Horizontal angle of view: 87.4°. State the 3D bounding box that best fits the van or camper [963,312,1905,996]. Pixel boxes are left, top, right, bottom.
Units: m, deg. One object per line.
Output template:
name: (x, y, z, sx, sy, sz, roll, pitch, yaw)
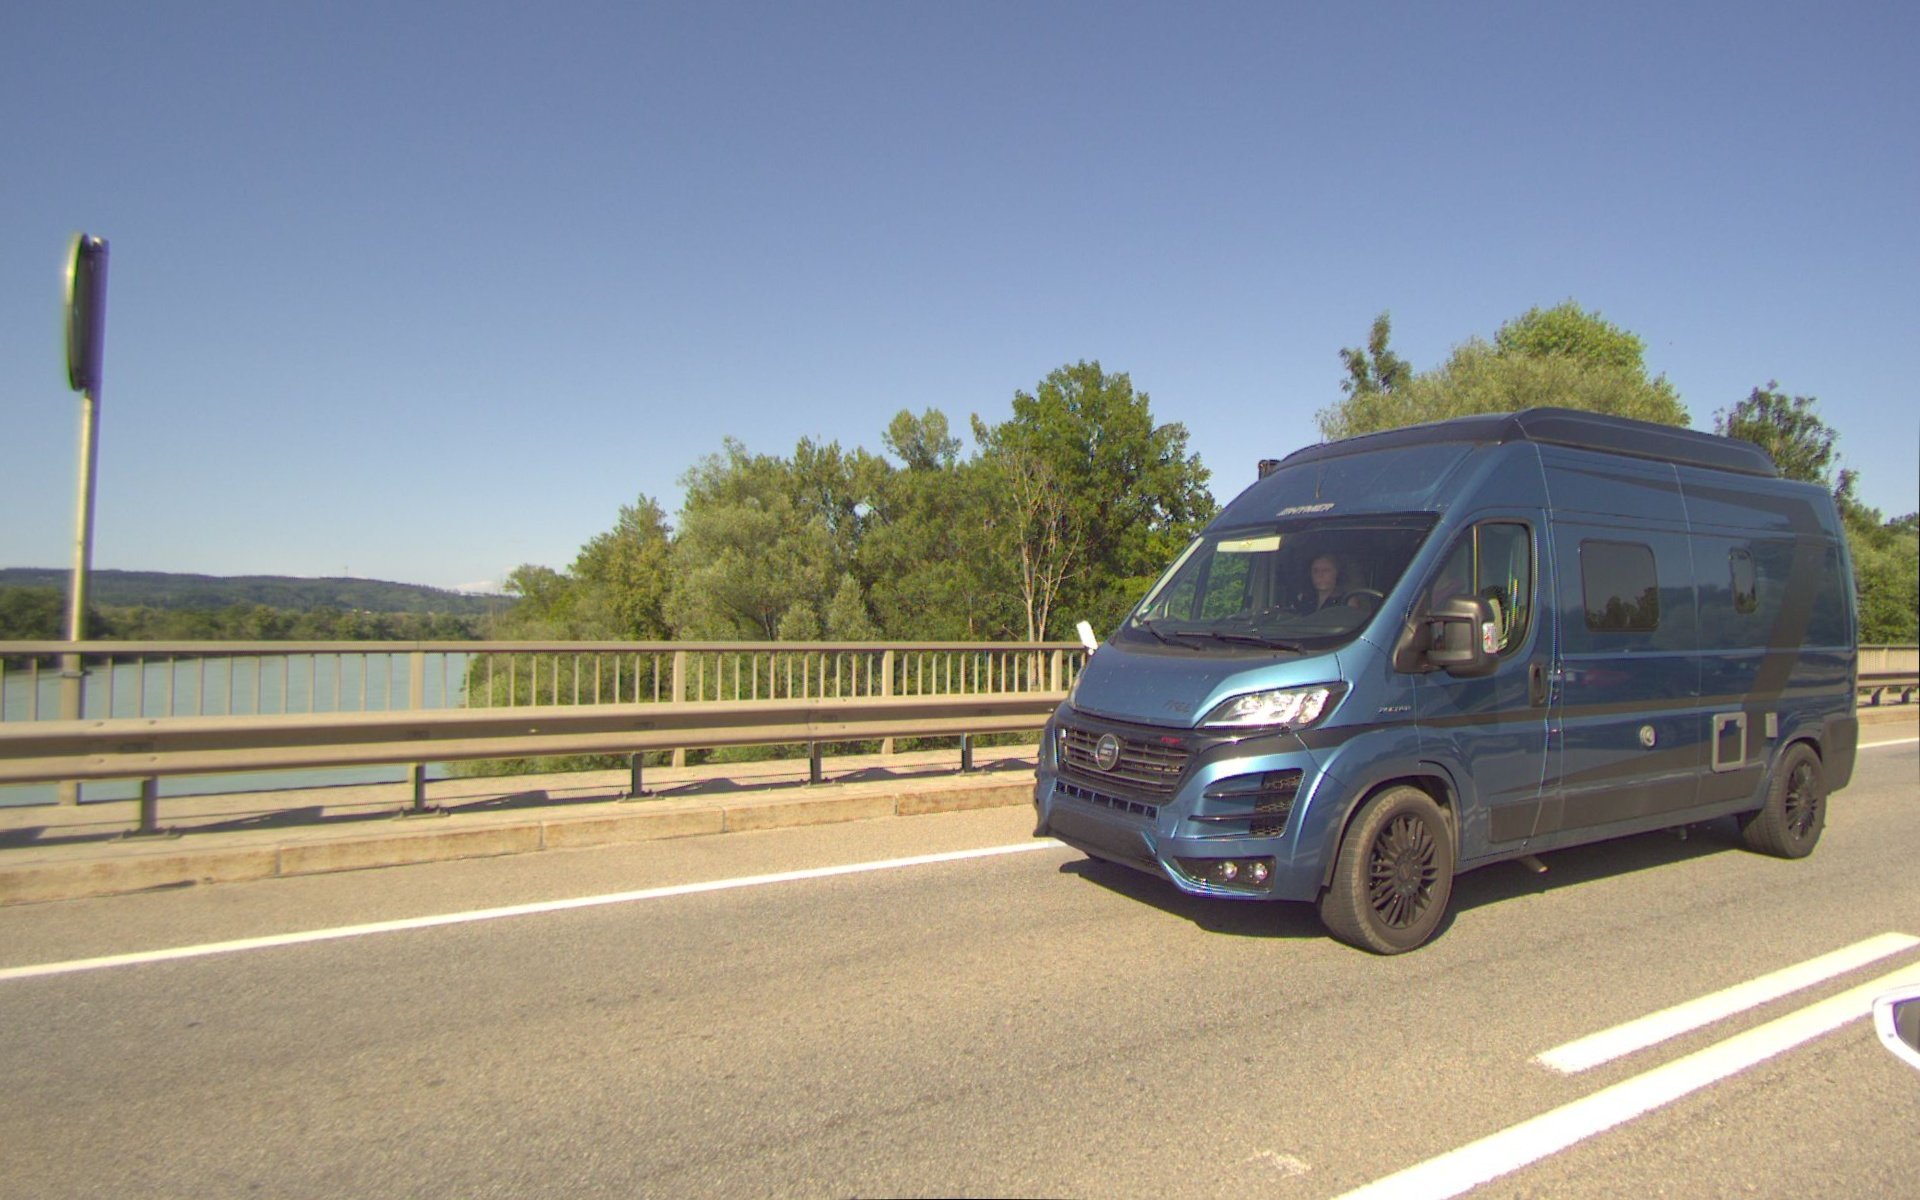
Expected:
van or camper: (3.357, 0.271, 6.583, 6.329, 2.677, 2.419, 1, 0, -30)
